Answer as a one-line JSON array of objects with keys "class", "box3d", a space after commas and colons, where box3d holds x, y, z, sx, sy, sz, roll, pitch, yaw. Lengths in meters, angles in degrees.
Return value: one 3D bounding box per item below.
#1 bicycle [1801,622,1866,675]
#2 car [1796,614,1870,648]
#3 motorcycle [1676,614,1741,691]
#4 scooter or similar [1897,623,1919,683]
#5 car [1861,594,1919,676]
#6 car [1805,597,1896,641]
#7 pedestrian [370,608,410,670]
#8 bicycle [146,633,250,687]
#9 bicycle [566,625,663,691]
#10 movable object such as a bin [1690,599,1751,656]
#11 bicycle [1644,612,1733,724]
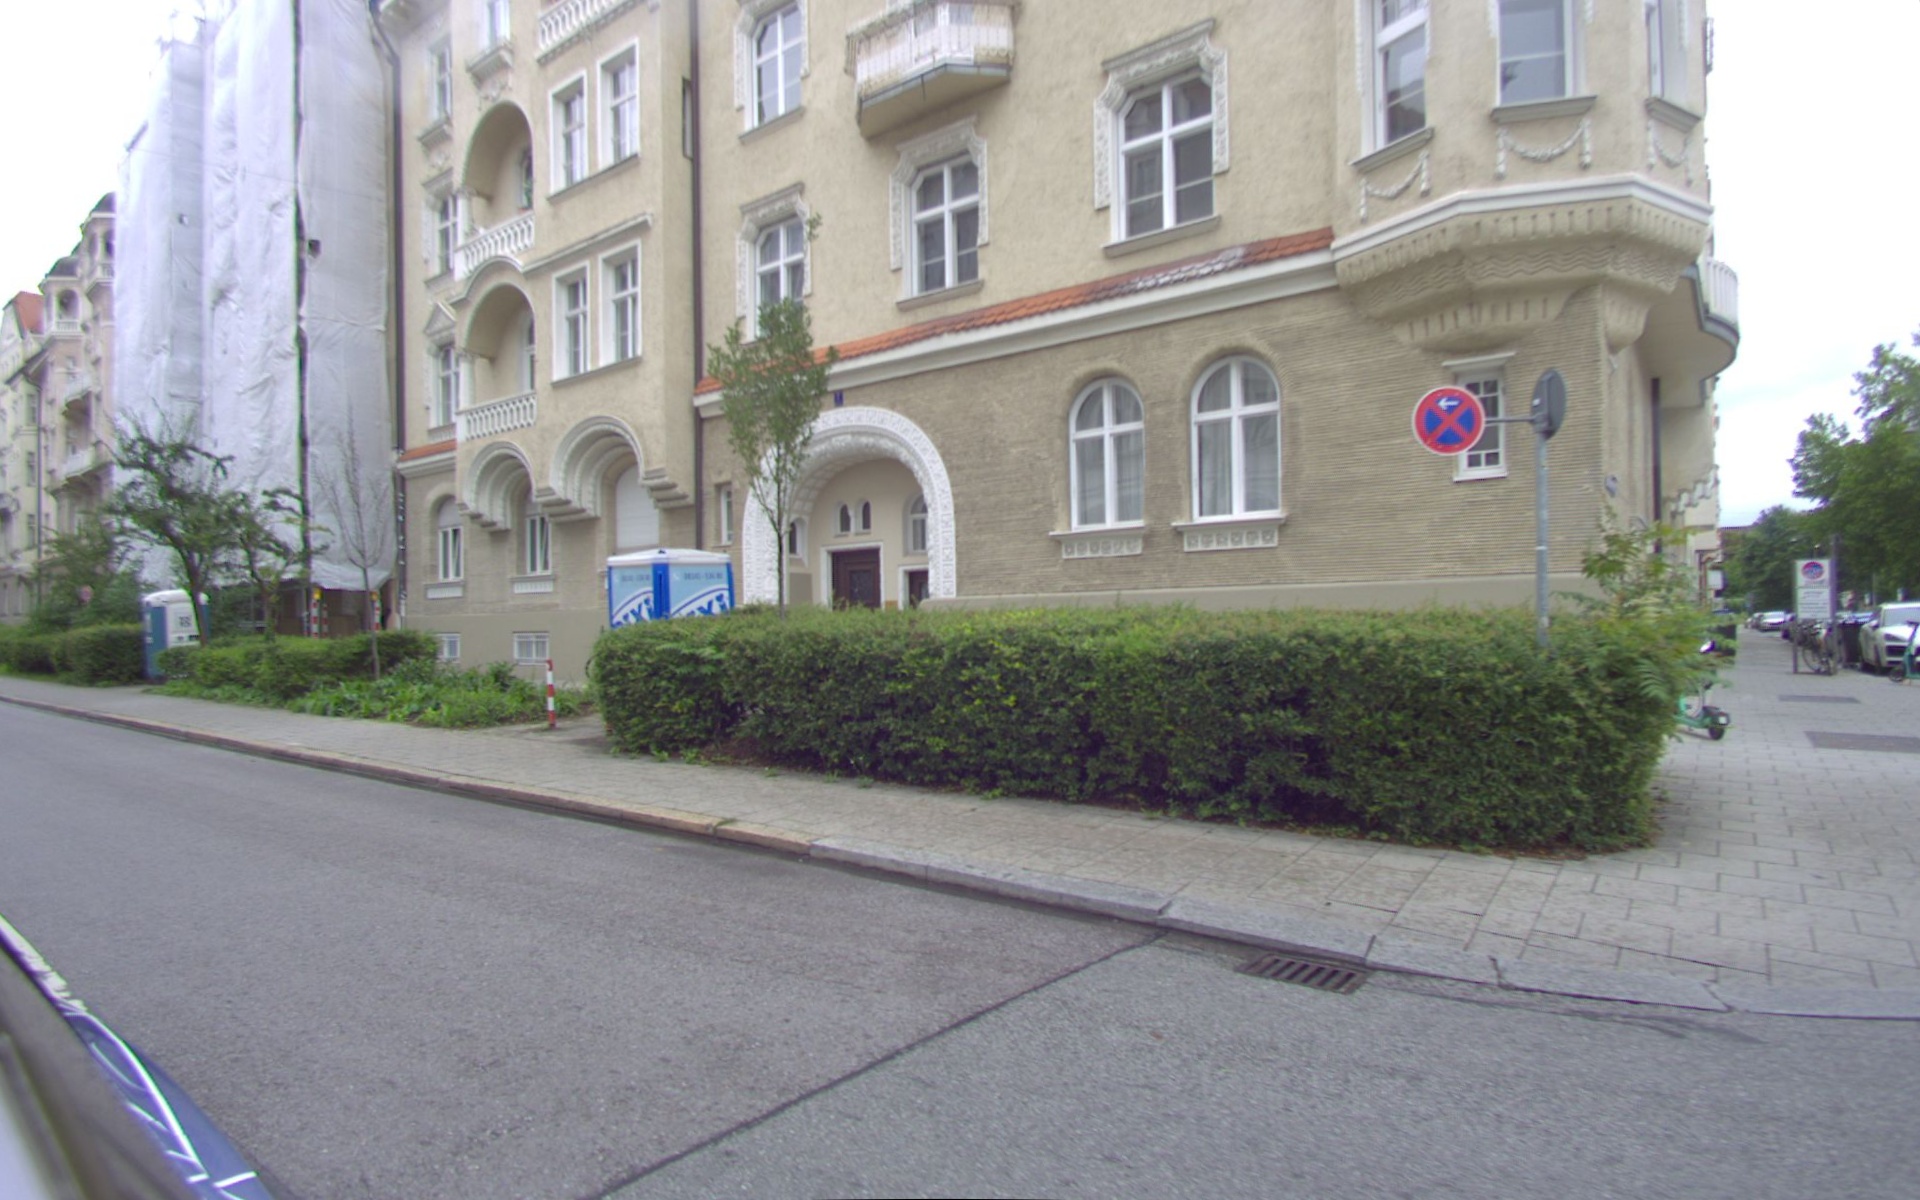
[{"class": "bicycle", "box3d": [18.858, 1.026, 21.888, 0.651, 1.077, 1.956, -2, -2, 29]}, {"class": "car", "box3d": [36.594, 1.278, 42.522, 1.996, 1.386, 4.129, -2, -2, 36]}, {"class": "motorcycle", "box3d": [12.400, 0.841, 16.803, 0.740, 1.195, 1.726, -2, -2, 34]}, {"class": "scooter or similar", "box3d": [18.271, 0.986, 18.688, 0.534, 1.117, 1.349, -1, -1, -7]}, {"class": "car", "box3d": [21.808, 0.738, 22.616, 1.996, 1.688, 4.929, -2, -2, 36]}, {"class": "car", "box3d": [31.213, 0.674, 35.601, 1.996, 1.461, 4.129, -2, -2, 36]}, {"class": "pedestrian", "box3d": [-16.630, 1.119, 29.527, 0.772, 1.759, 0.762, -2, -1, 36]}, {"class": "bicycle", "box3d": [-18.462, 1.435, 24.557, 0.690, 1.085, 1.842, -2, 2, 40]}, {"class": "bicycle", "box3d": [-6.889, 1.136, 20.137, 2.074, 1.215, 0.813, -2, 0, 38]}, {"class": "movable object such as a bin", "box3d": [19.037, 0.686, 25.329, 1.147, 1.381, 1.165, -2, -2, 39]}, {"class": "bicycle", "box3d": [8.711, 0.766, 12.172, 0.697, 1.212, 2.314, -2, -2, 33]}]
